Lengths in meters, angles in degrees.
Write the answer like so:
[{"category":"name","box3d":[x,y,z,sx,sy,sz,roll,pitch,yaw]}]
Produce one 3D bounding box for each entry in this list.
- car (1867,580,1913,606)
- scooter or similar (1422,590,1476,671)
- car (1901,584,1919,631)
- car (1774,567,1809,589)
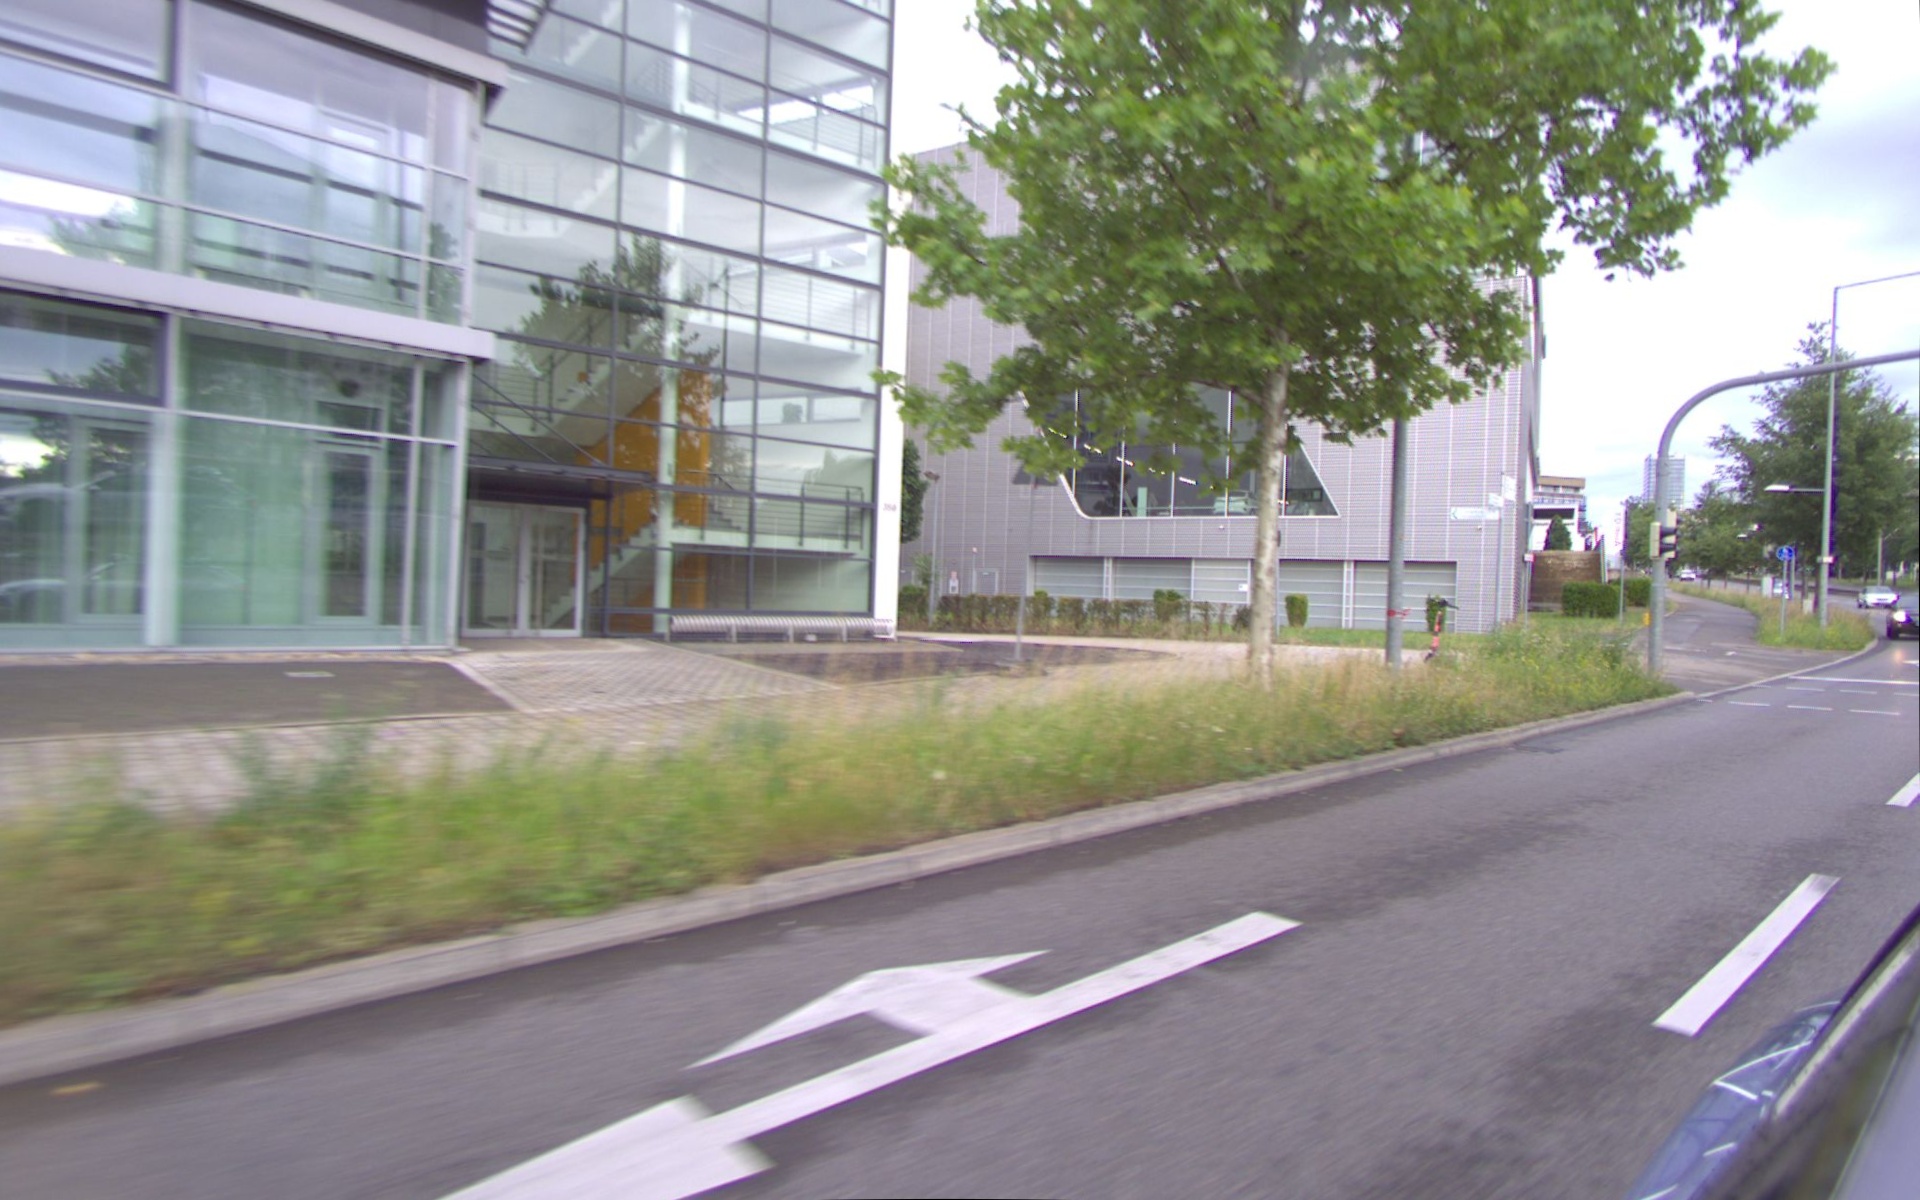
[{"category":"car","box3d":[63.752,-0.488,69.421,1.852,1.703,4.059,2,2,37]},{"category":"scooter or similar","box3d":[8.357,0.494,17.269,0.457,1.278,1.317,4,3,40]},{"category":"car","box3d":[34.590,0.239,35.766,1.824,1.629,4.048,0,1,45]},{"category":"car","box3d":[71.443,-1.887,87.001,1.849,1.832,4.064,0,1,34]}]
